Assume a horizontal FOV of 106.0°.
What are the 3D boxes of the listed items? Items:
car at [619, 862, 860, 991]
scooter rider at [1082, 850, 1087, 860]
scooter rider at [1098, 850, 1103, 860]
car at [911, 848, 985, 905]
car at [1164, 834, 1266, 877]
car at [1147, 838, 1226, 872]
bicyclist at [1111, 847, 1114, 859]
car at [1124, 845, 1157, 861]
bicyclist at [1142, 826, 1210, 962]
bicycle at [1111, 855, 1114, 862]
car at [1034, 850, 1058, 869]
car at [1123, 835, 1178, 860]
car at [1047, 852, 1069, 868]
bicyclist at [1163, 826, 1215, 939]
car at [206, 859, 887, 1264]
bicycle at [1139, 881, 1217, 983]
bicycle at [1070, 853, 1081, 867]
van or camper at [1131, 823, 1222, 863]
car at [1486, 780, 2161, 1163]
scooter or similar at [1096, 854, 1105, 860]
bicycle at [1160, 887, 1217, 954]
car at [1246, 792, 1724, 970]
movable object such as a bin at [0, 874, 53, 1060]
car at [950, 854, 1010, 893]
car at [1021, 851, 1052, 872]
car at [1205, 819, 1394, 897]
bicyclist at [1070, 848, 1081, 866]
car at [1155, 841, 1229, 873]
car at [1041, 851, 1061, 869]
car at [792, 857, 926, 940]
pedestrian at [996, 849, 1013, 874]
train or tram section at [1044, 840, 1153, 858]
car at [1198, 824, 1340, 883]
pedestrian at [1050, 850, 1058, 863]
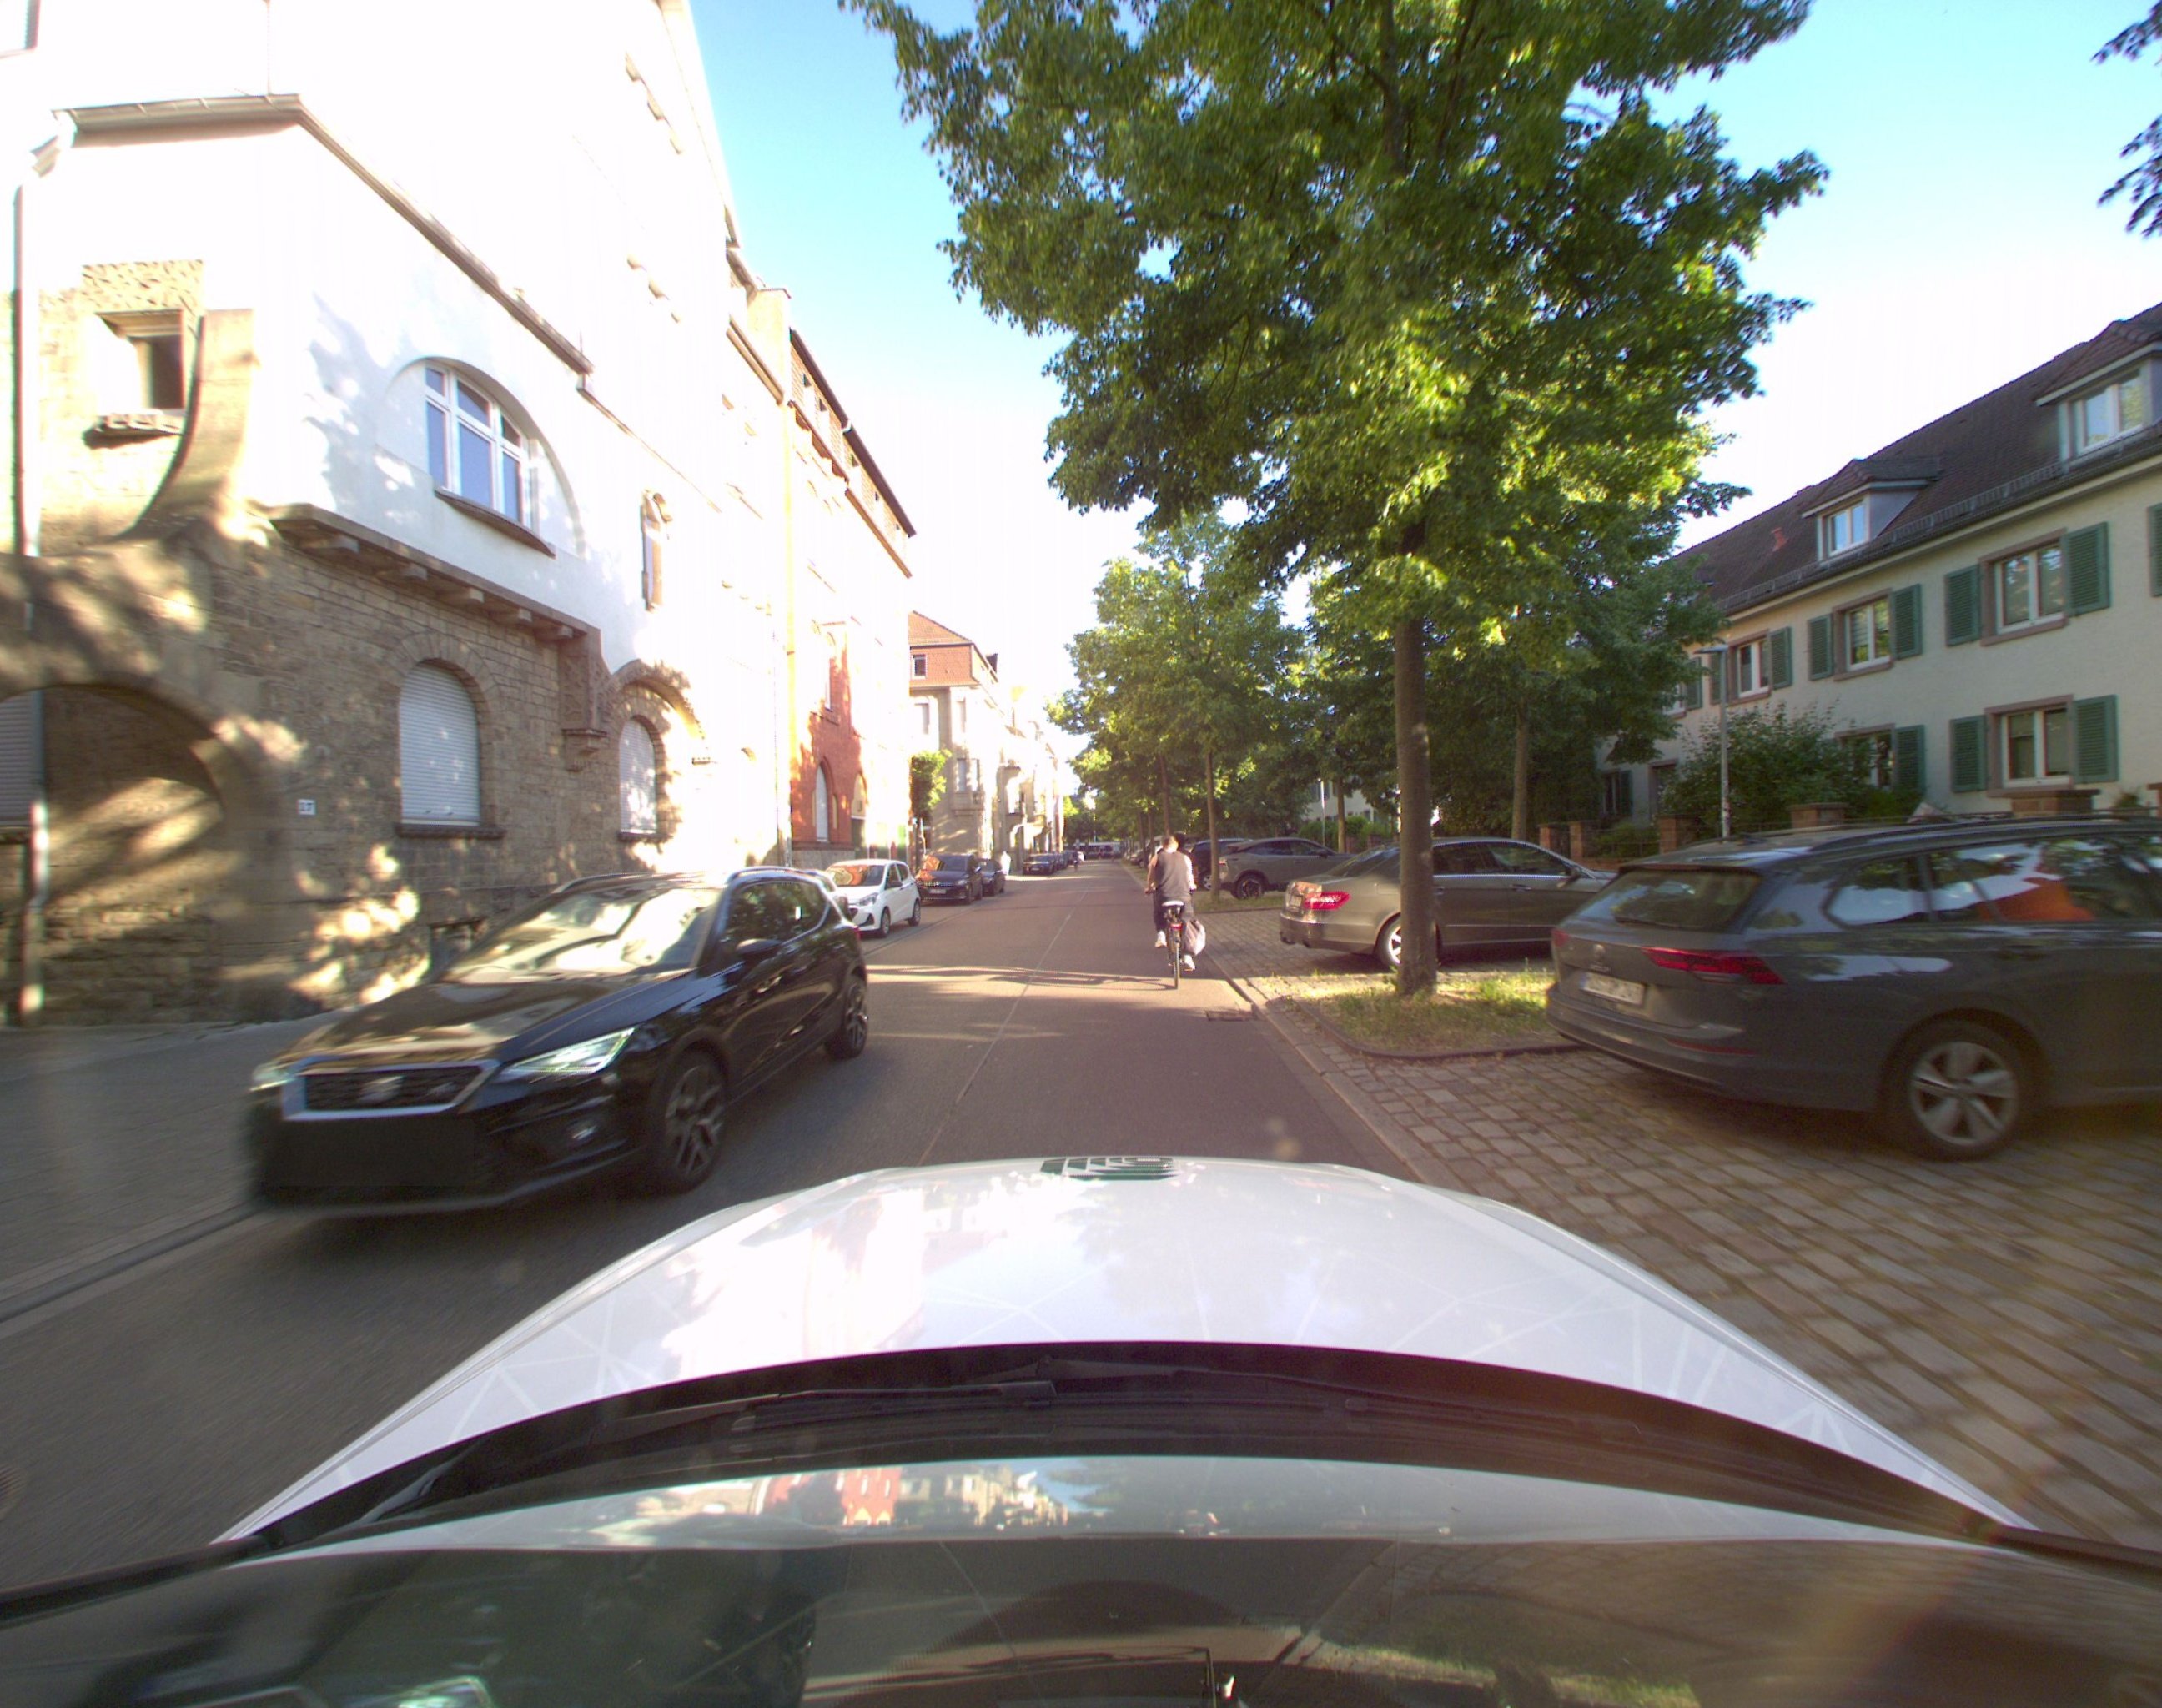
[{"bbox_3d":[-4.604,0.878,11.701,1.671,1.442,4.112,0,1,1],"label":"car"},{"bbox_3d":[0.571,0.232,147.768,0.869,1.841,0.670,0,-1,-3],"label":"scooter rider"},{"bbox_3d":[3.483,0.181,144.079,0.869,1.841,0.670,0,-1,-3],"label":"scooter rider"},{"bbox_3d":[-4.215,0.689,26.456,1.664,1.681,4.349,-1,0,0],"label":"car"},{"bbox_3d":[6.500,0.069,39.827,4.531,1.633,1.809,-5,0,-5],"label":"car"},{"bbox_3d":[6.428,0.060,50.115,4.600,1.709,1.835,-4,0,3],"label":"car"},{"bbox_3d":[4.512,-0.137,116.766,0.484,1.744,0.656,0,-1,1],"label":"bicyclist"},{"bbox_3d":[7.583,-0.101,104.310,4.070,1.650,1.640,-5,0,-1],"label":"car"},{"bbox_3d":[1.112,0.458,9.703,0.727,1.547,0.884,0,-1,0],"label":"bicyclist"},{"bbox_3d":[4.541,0.642,116.735,0.496,1.005,1.474,-1,-2,2],"label":"bicycle"},{"bbox_3d":[-2.719,0.454,64.379,1.690,1.453,4.027,-2,-1,0],"label":"car"},{"bbox_3d":[9.520,-0.868,111.554,7.126,2.978,2.463,-4,0,-1],"label":"car"},{"bbox_3d":[-2.156,0.532,77.398,1.669,1.430,4.553,0,1,2],"label":"car"},{"bbox_3d":[1.603,0.408,12.237,0.686,1.626,0.999,0,0,2],"label":"bicyclist"},{"bbox_3d":[-2.568,0.835,5.103,1.621,1.477,3.761,-3,0,2],"label":"car"},{"bbox_3d":[1.114,0.871,9.780,0.735,1.054,1.956,0,-1,1],"label":"bicycle"},{"bbox_3d":[-0.401,0.481,65.164,0.755,1.107,1.908,-3,-1,2],"label":"bicycle"},{"bbox_3d":[7.747,-0.902,66.663,7.117,2.646,2.467,-5,0,3],"label":"van or camper"},{"bbox_3d":[4.915,0.428,4.407,4.459,1.435,1.829,-5,0,1],"label":"car"},{"bbox_3d":[3.460,0.523,144.071,1.595,1.147,0.677,0,-1,-4],"label":"scooter or similar"},{"bbox_3d":[1.567,0.955,12.119,0.631,0.799,1.833,-2,0,2],"label":"bicycle"},{"bbox_3d":[4.656,0.290,9.925,4.823,1.539,1.894,-5,0,-1],"label":"car"},{"bbox_3d":[-9.229,0.910,6.239,1.188,1.478,1.174,0,-1,1],"label":"movable object such as a bin"},{"bbox_3d":[-3.906,0.712,32.155,1.629,1.410,4.335,1,0,2],"label":"car"},{"bbox_3d":[-3.155,0.539,58.232,1.804,1.427,4.899,1,0,1],"label":"car"},{"bbox_3d":[5.750,0.102,21.820,4.461,1.633,1.875,-5,0,0],"label":"car"},{"bbox_3d":[-0.416,0.243,65.135,0.757,1.454,0.949,-3,-1,1],"label":"bicyclist"},{"bbox_3d":[6.418,0.151,47.576,4.052,1.476,1.695,-5,1,2],"label":"car"},{"bbox_3d":[-2.624,0.508,71.409,1.624,1.453,3.837,-1,0,-1],"label":"car"},{"bbox_3d":[-4.445,0.822,16.840,1.559,1.470,3.595,-1,1,4],"label":"car"},{"bbox_3d":[-5.138,0.508,54.824,0.884,1.577,1.054,-3,1,2],"label":"pedestrian"},{"bbox_3d":[4.014,-1.081,177.507,23.890,3.708,4.256,0,-1,-21],"label":"train or tram section"},{"bbox_3d":[6.615,-0.022,29.051,4.562,1.677,1.909,-5,0,3],"label":"car"},{"bbox_3d":[-3.567,0.367,106.580,0.934,1.742,0.735,0,-1,3],"label":"pedestrian"}]
